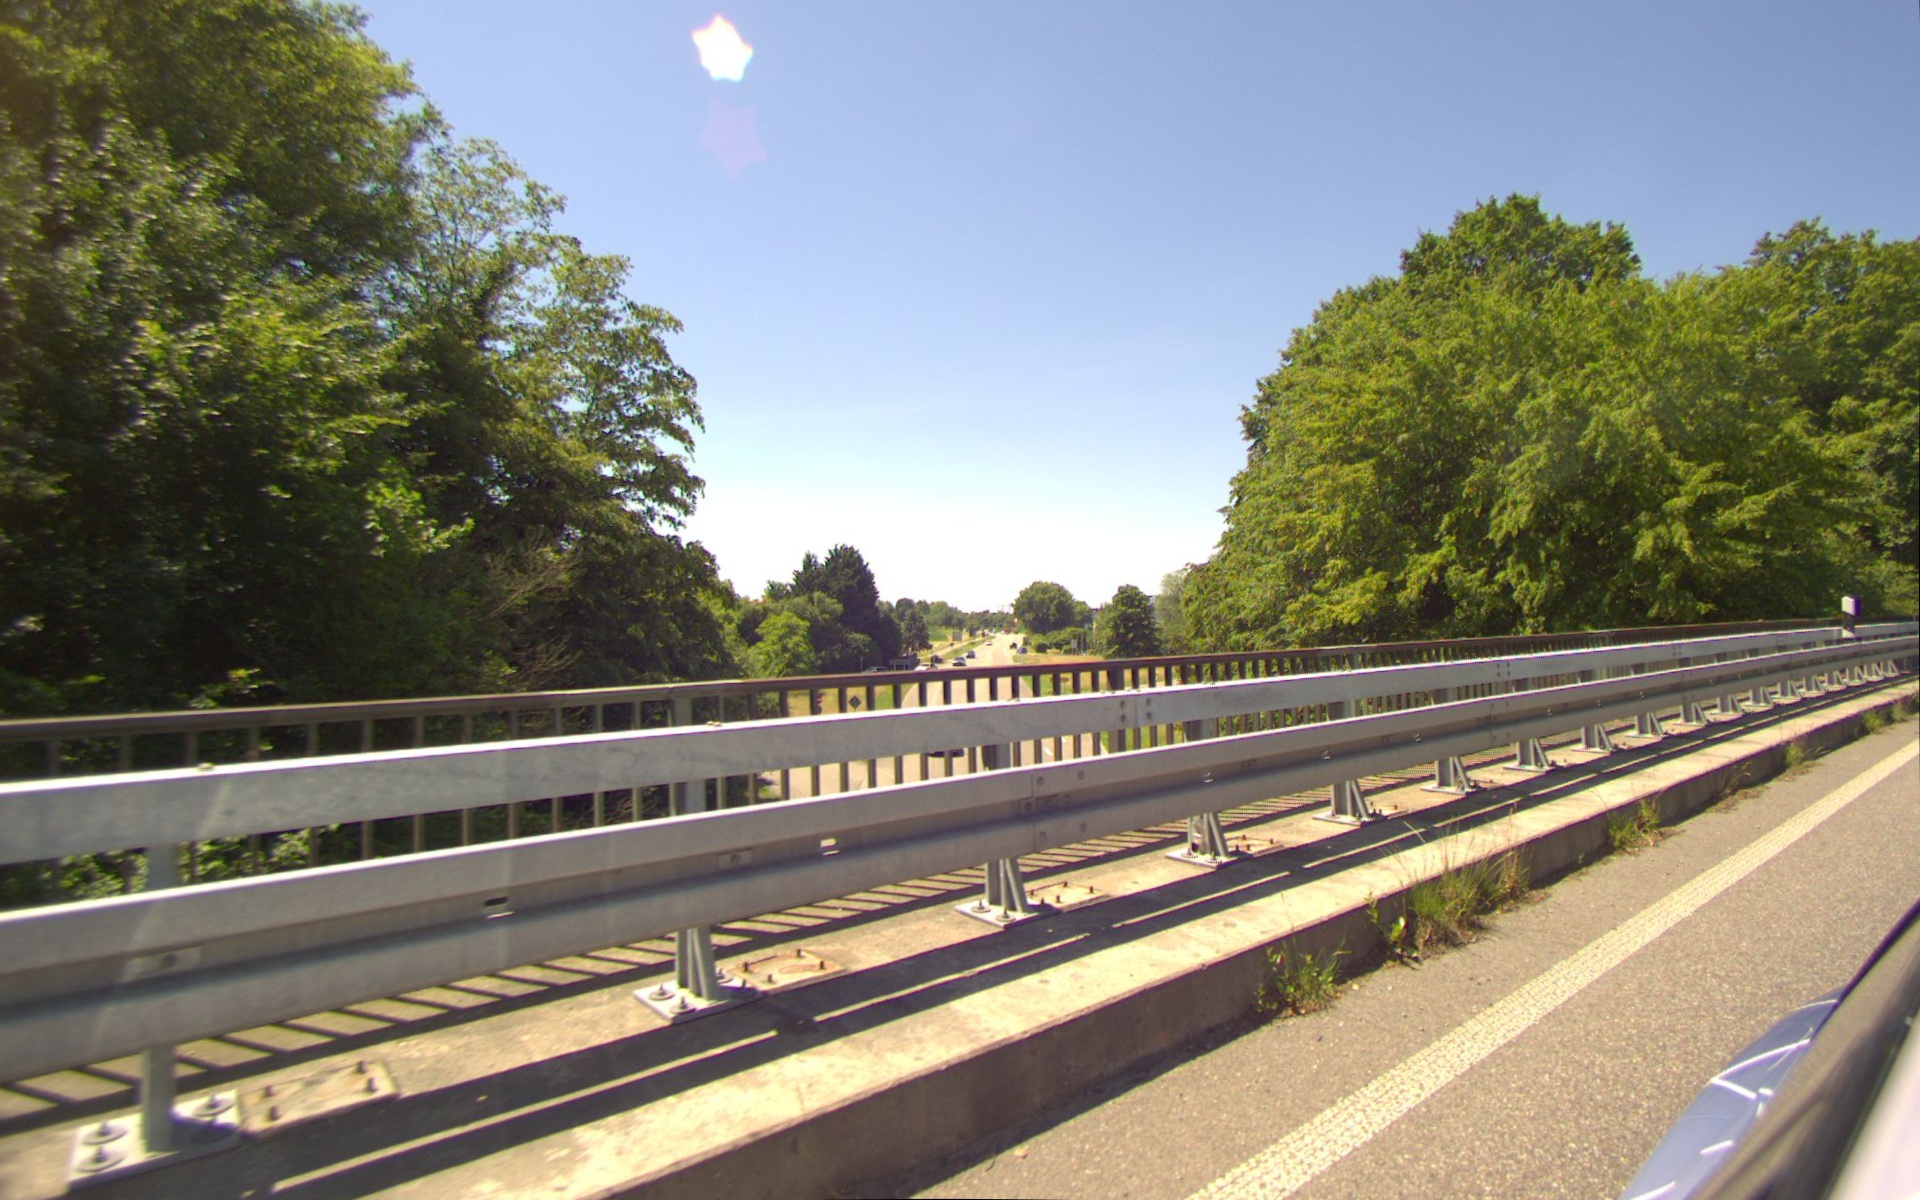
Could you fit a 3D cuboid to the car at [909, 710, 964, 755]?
[{"bbox_3d":[-1.389,7.563,58.204,1.958,2.039,4.007,-2,0,-19],"label":"car"}]
